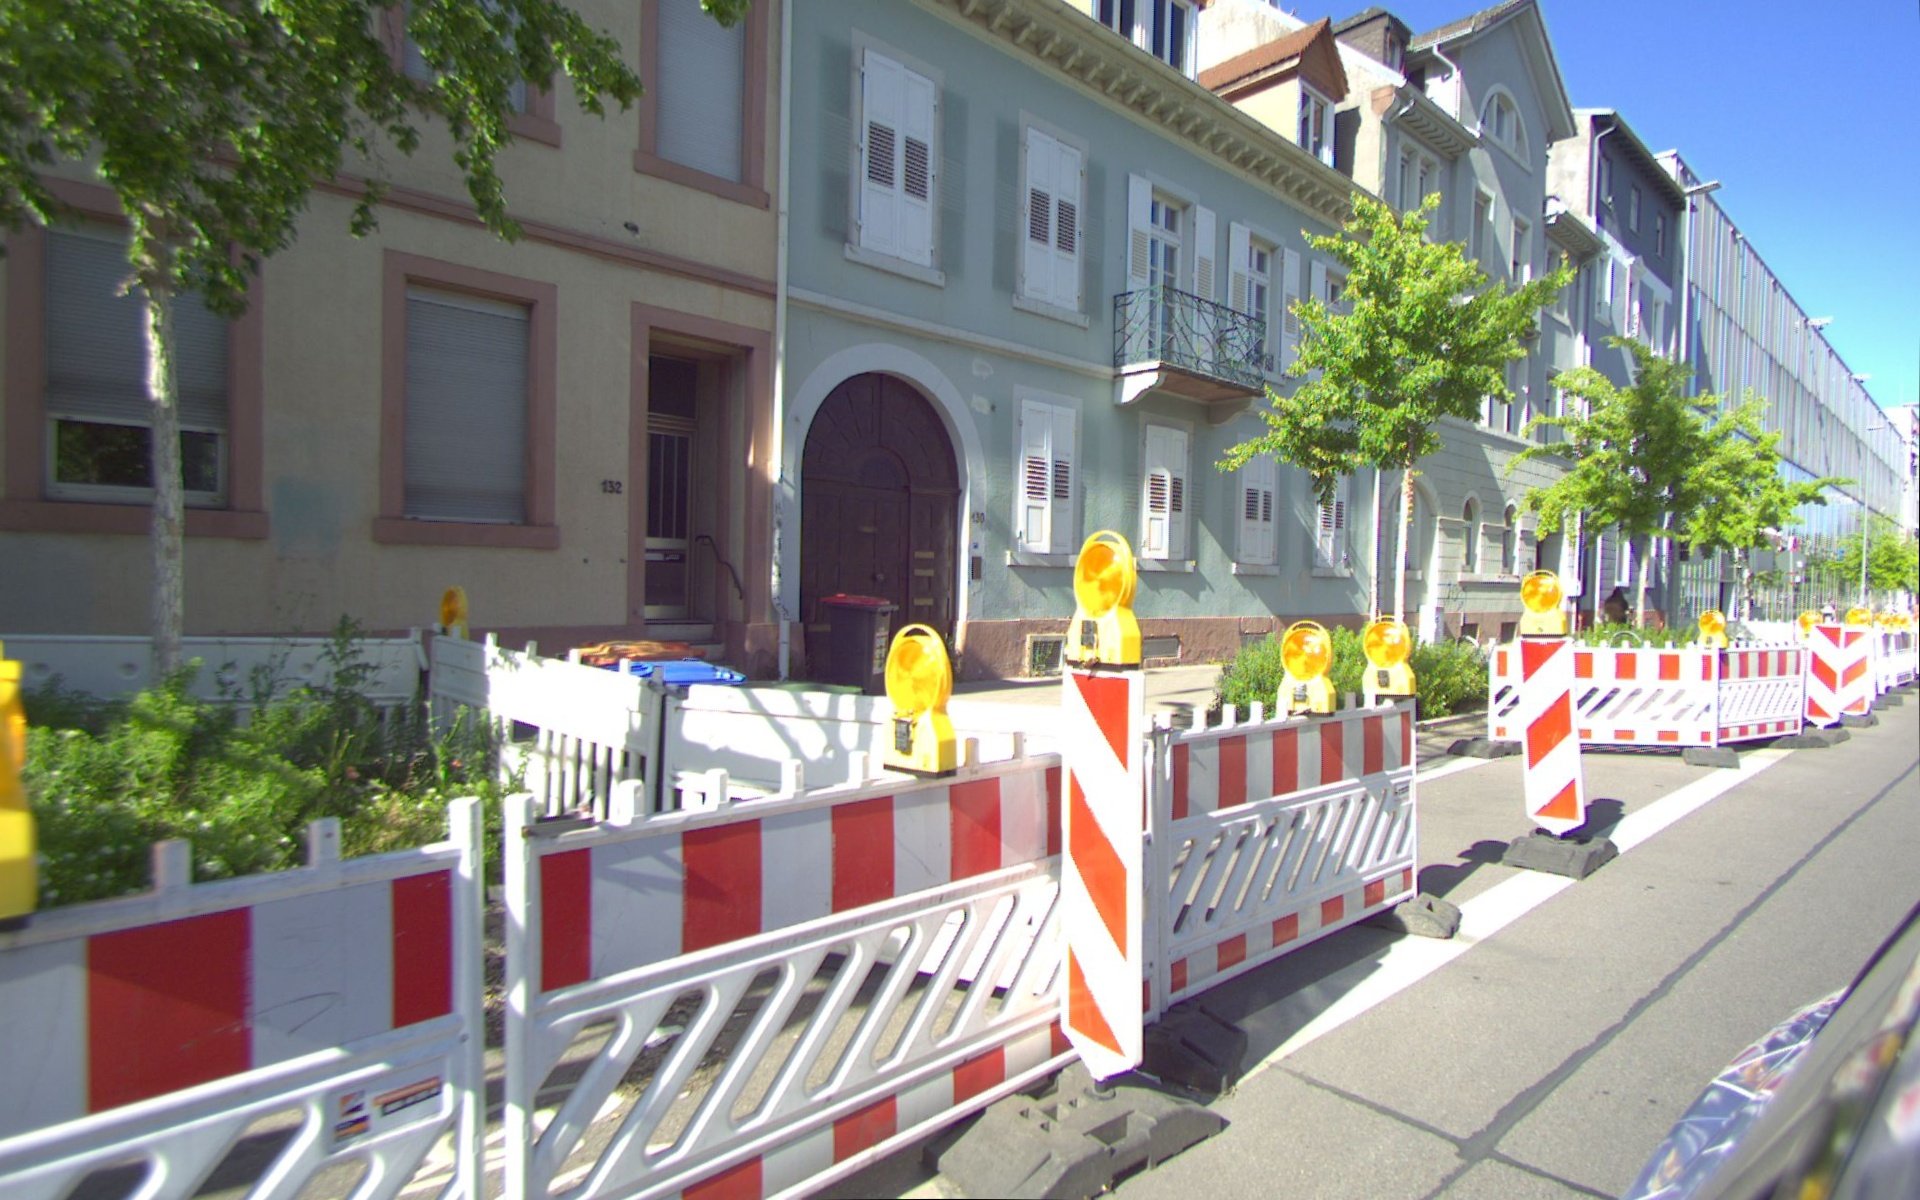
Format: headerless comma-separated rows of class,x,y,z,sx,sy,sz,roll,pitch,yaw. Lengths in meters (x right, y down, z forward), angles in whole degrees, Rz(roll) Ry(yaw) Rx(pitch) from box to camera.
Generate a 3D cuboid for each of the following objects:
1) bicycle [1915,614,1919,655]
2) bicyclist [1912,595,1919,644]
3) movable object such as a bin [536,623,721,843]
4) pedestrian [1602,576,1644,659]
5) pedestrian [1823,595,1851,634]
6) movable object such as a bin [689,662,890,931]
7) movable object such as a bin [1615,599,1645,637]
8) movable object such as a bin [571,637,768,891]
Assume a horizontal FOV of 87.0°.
bicycle,29.137,1.018,30.399,0.608,1.165,1.957,0,0,42
bicyclist,29.138,0.591,30.405,0.753,1.480,0.578,1,1,43
movable object such as a bin,-1.883,0.709,5.758,0.588,1.070,0.771,8,5,43
pedestrian,15.814,0.404,24.152,0.790,1.953,0.761,1,0,33
pedestrian,45.472,0.746,52.487,0.880,1.947,0.877,-2,5,-42
movable object such as a bin,-0.797,0.858,4.739,0.718,1.071,0.588,1,0,-41
movable object such as a bin,20.325,0.537,30.689,0.691,1.122,0.589,1,0,-41
movable object such as a bin,-1.446,0.762,5.032,0.718,1.070,0.597,1,5,-41
